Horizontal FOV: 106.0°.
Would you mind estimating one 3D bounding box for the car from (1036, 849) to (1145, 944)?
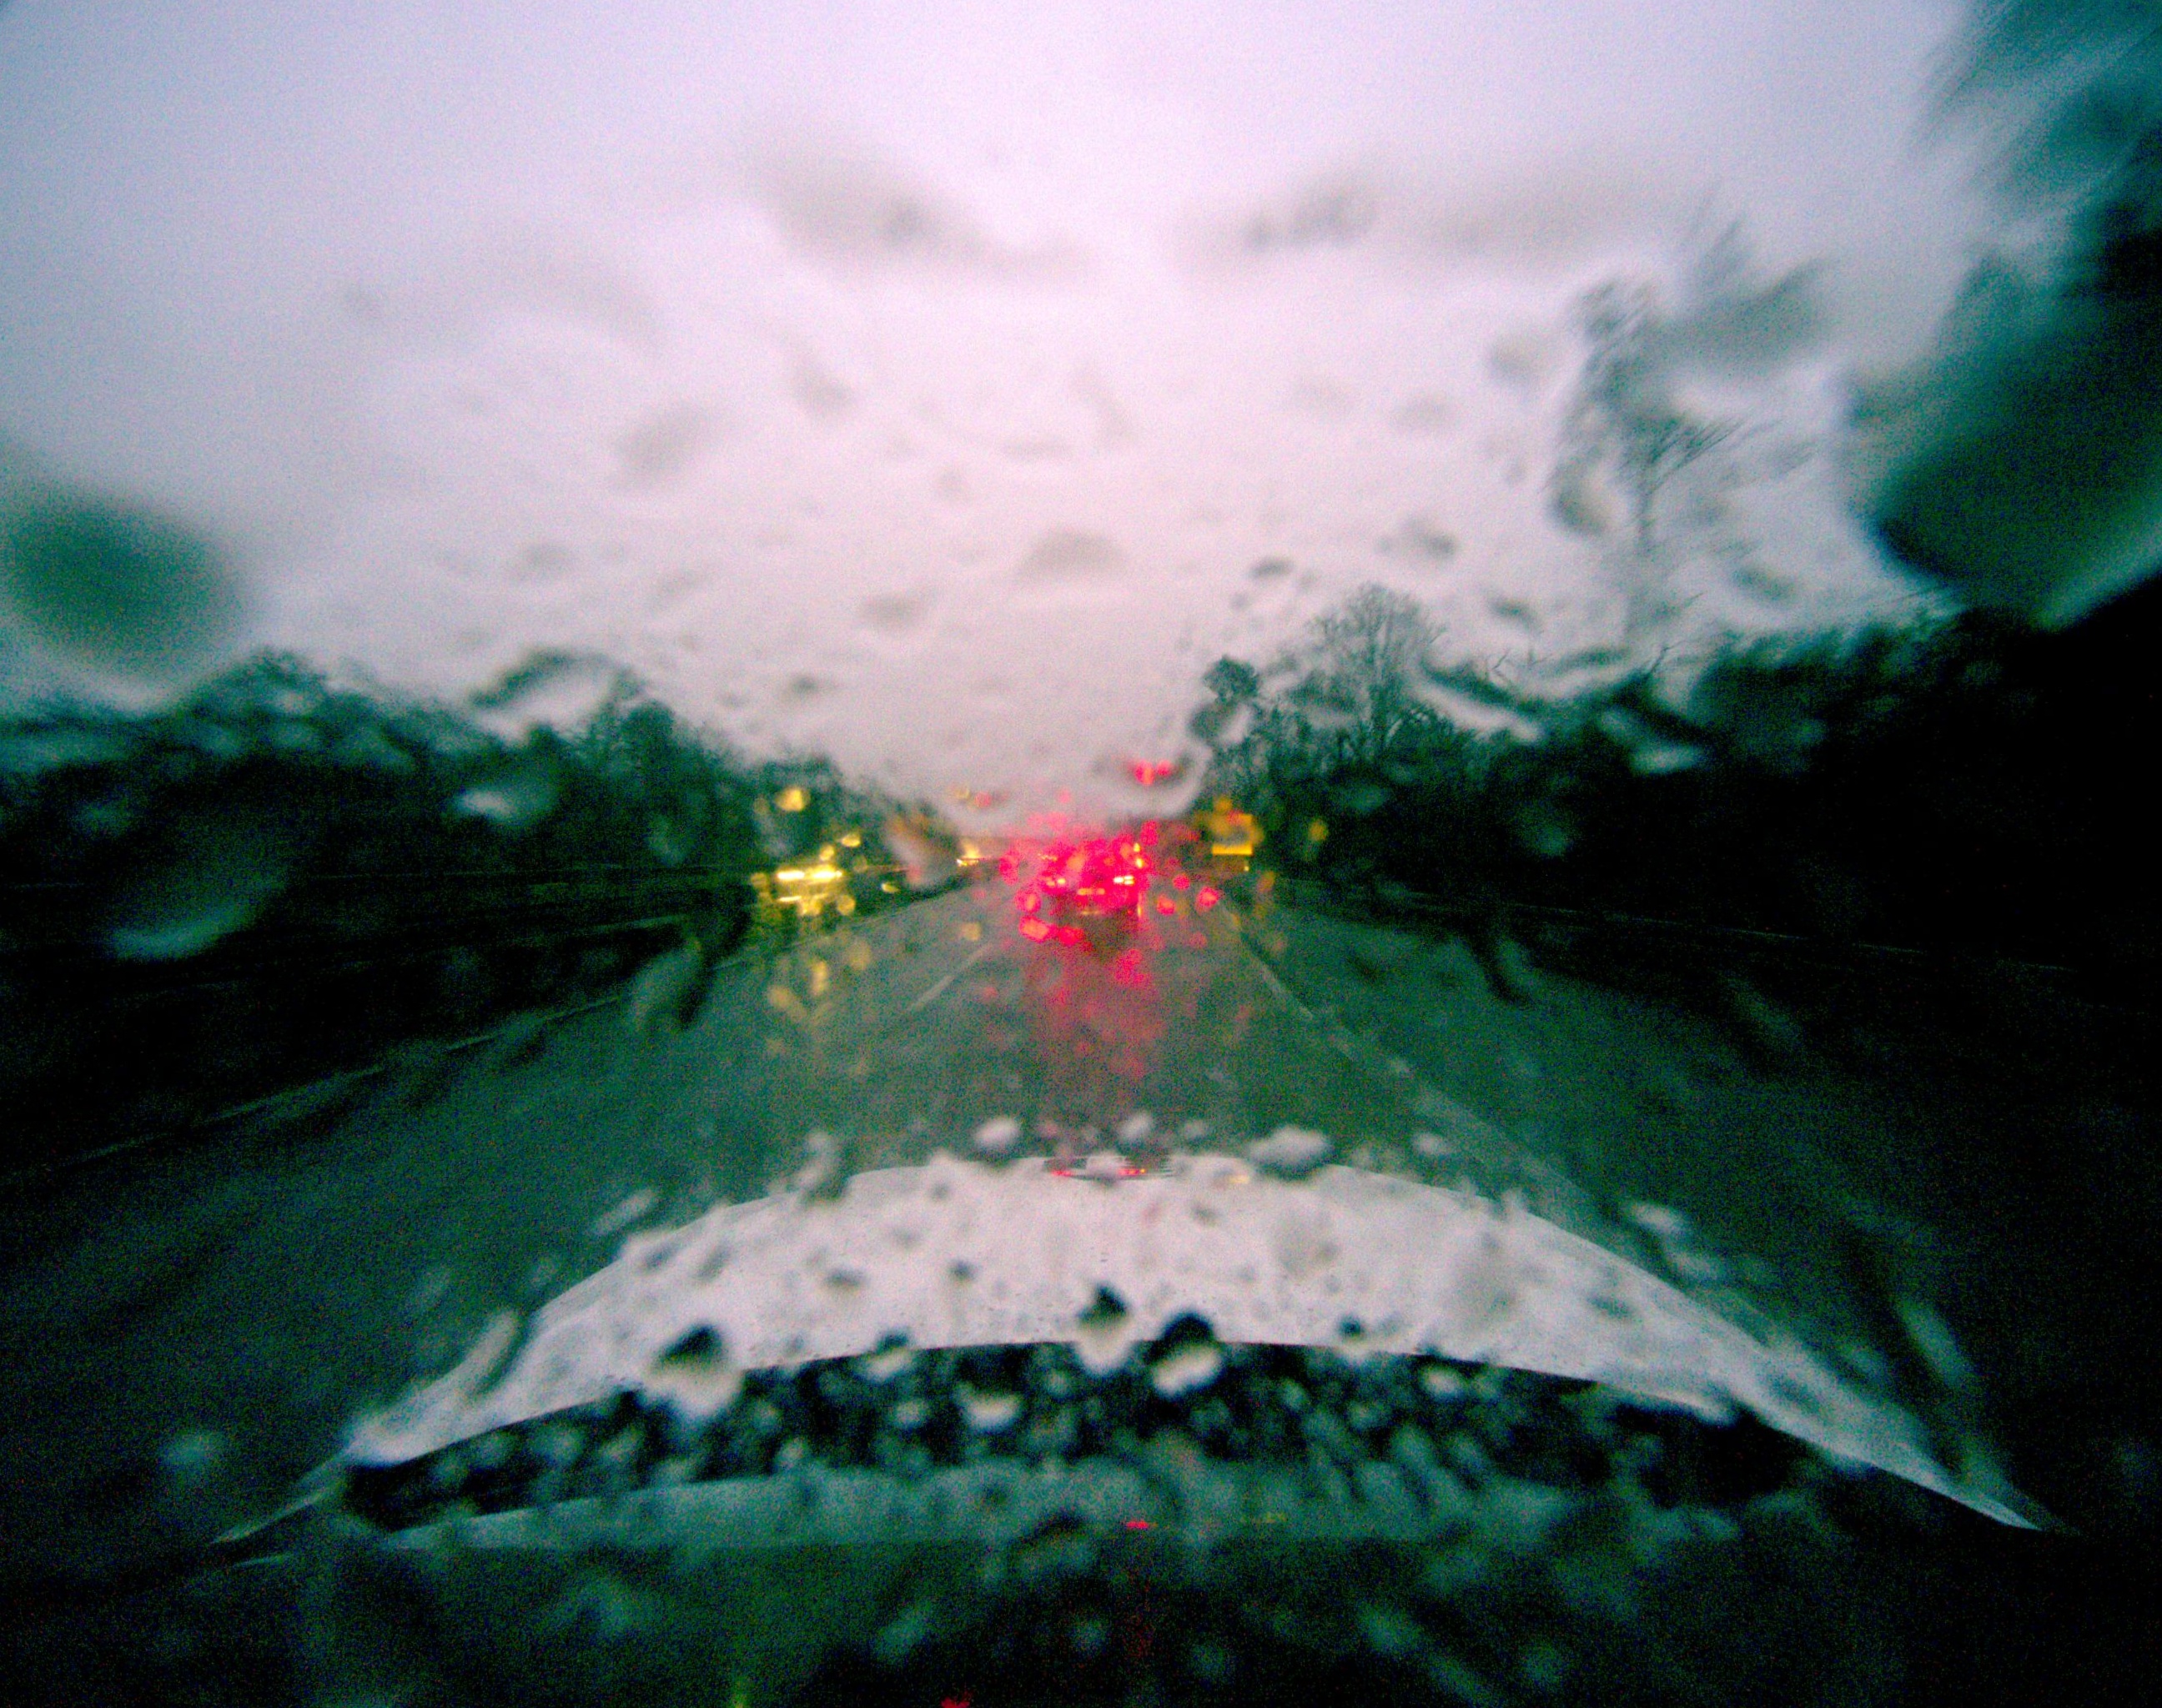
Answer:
[{"bbox_3d":[0.191,0.785,16.885,1.985,1.715,3.829,-1,0,0],"label":"car"}]

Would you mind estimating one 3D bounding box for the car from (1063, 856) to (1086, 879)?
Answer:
[{"bbox_3d":[-0.596,1.213,73.677,1.987,2.014,3.999,-1,0,0],"label":"car"}]

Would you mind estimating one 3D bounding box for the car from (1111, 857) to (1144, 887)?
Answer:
[{"bbox_3d":[2.338,0.885,41.098,1.563,1.408,3.648,-1,0,2],"label":"car"}]

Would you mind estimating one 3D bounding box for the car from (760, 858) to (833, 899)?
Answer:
[{"bbox_3d":[-10.967,0.909,31.576,1.554,1.499,3.431,-1,0,1],"label":"car"}]
